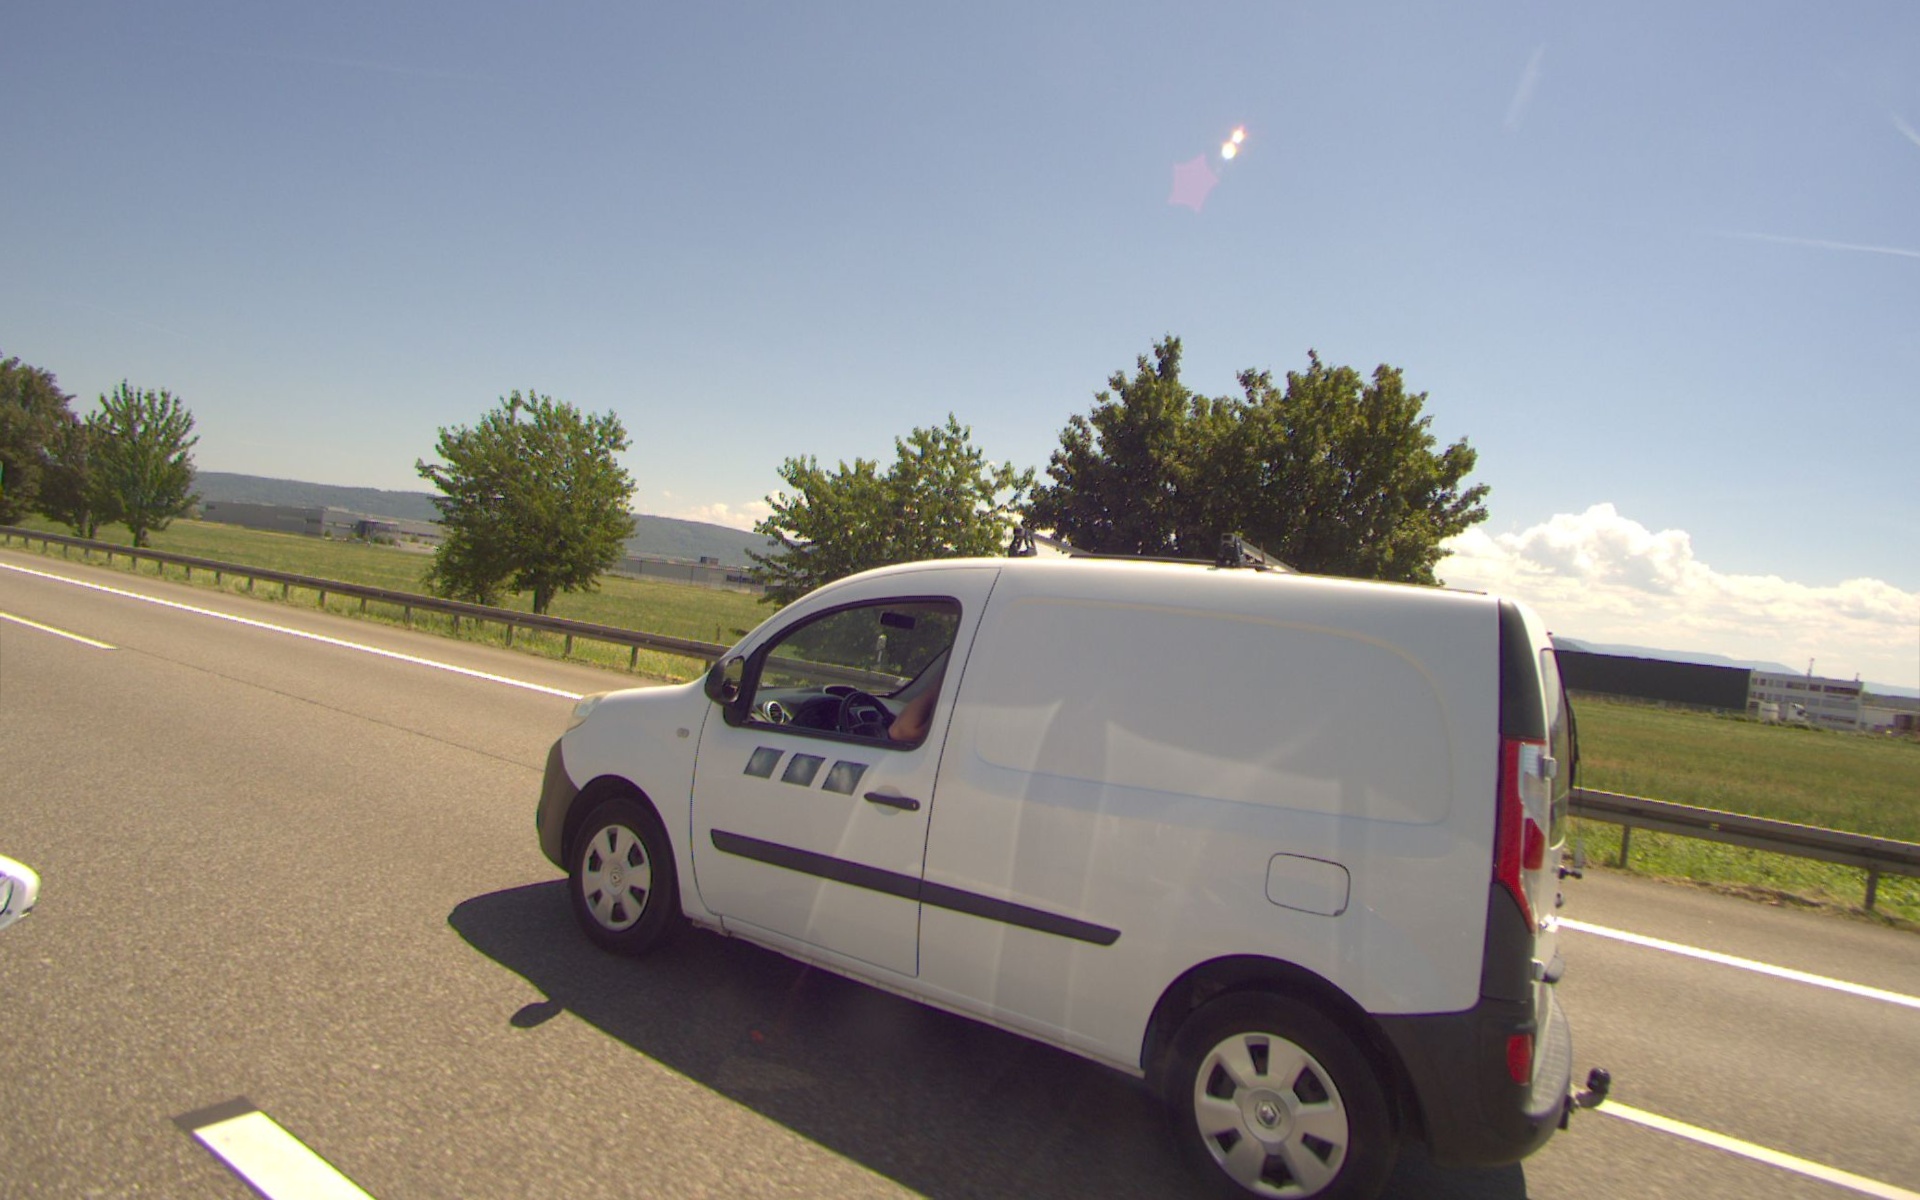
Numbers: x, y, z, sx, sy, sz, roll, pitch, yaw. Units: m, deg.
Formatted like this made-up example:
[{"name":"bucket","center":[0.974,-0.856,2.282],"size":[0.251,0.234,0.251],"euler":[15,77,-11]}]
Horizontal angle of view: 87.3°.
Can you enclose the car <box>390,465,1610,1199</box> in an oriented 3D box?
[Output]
[{"name":"car","center":[-0.117,0.621,4.317],"size":[4.623,1.884,1.857],"euler":[7,-2,31]}]
